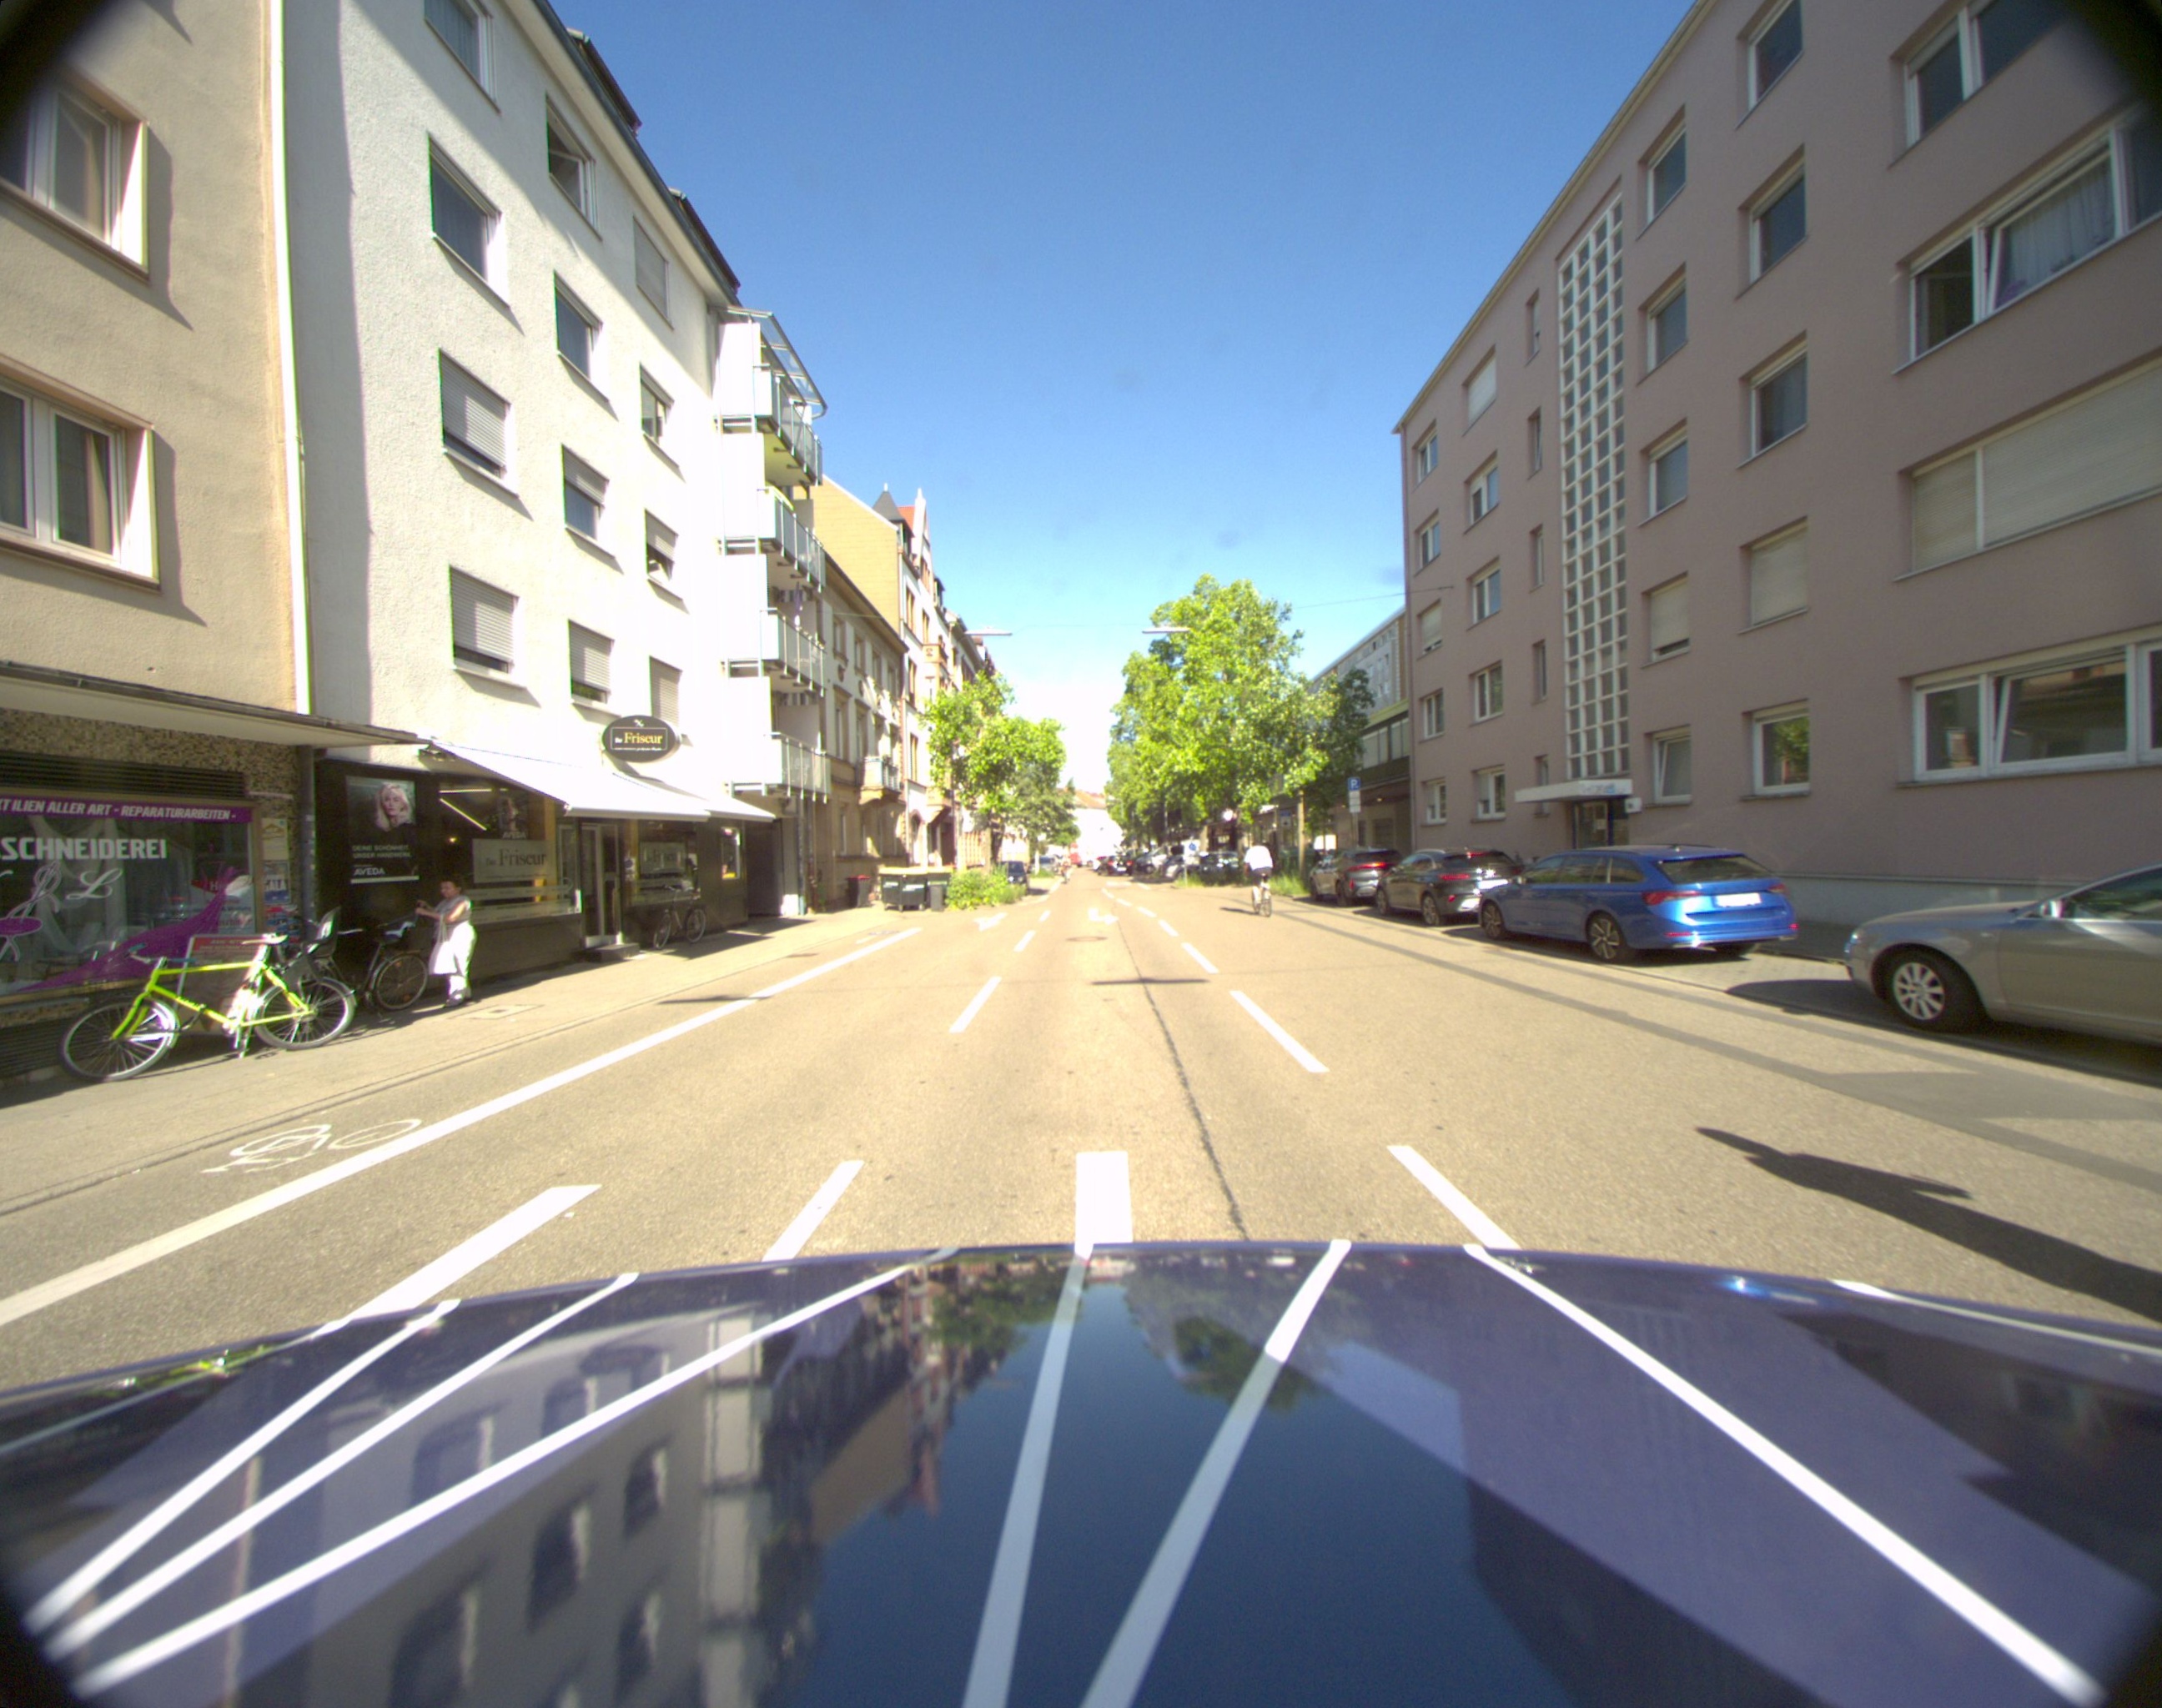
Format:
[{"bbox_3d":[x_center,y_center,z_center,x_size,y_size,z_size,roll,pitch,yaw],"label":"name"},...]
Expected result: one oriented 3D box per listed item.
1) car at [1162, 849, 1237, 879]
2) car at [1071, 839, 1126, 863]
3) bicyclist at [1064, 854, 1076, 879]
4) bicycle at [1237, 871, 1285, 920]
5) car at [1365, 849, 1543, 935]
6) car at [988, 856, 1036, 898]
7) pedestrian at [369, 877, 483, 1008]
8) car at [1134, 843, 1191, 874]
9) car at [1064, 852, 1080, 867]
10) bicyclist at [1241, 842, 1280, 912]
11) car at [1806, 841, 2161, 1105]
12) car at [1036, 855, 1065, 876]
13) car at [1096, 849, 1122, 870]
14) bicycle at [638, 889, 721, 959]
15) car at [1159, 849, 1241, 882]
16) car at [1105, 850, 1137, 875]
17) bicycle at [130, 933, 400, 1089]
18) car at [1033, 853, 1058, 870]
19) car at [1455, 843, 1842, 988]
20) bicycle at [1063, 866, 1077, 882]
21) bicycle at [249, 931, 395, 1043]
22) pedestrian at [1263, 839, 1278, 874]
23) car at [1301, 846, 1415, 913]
[{"bbox_3d":[6.655,0.542,42.949,3.996,1.543,1.913,-2,1,3],"label":"car"},{"bbox_3d":[1.842,-0.309,79.838,5.571,2.379,1.973,-2,1,-35],"label":"car"},{"bbox_3d":[-0.621,0.696,42.906,0.582,1.369,0.665,-2,1,5],"label":"bicyclist"},{"bbox_3d":[4.307,0.970,18.285,0.718,1.058,1.872,-1,1,1],"label":"bicycle"},{"bbox_3d":[7.545,0.676,15.871,1.727,1.459,4.158,-4,0,2],"label":"car"},{"bbox_3d":[-2.876,0.926,32.126,1.627,1.587,3.546,-2,0,1],"label":"car"},{"bbox_3d":[-7.568,1.000,8.811,0.776,1.434,0.625,0,1,-4],"label":"pedestrian"},{"bbox_3d":[5.754,0.313,53.950,3.875,2.031,1.913,-2,1,3],"label":"car"},{"bbox_3d":[-1.029,0.588,87.150,1.627,1.587,3.546,-2,0,1],"label":"car"},{"bbox_3d":[4.305,0.535,18.267,0.718,1.611,0.946,-1,1,1],"label":"bicyclist"},{"bbox_3d":[7.389,0.711,4.340,1.828,1.494,4.801,-4,0,-1],"label":"car"},{"bbox_3d":[-2.155,0.804,54.535,1.914,1.444,3.546,-2,0,-1],"label":"car"},{"bbox_3d":[2.212,0.408,61.635,1.911,1.543,4.000,-2,0,0],"label":"car"},{"bbox_3d":[-7.575,1.293,14.417,0.598,1.137,1.774,1,0,1],"label":"bicycle"},{"bbox_3d":[6.172,0.579,39.687,3.996,1.543,1.913,-2,1,3],"label":"car"},{"bbox_3d":[2.666,0.541,51.703,1.911,1.543,4.000,-2,0,0],"label":"car"},{"bbox_3d":[-7.297,1.358,6.909,1.497,1.100,0.722,-2,1,-31],"label":"bicycle"},{"bbox_3d":[-3.044,0.626,65.880,1.914,1.444,3.547,-2,0,1],"label":"car"},{"bbox_3d":[7.497,0.679,10.845,1.828,1.494,4.801,-4,0,-1],"label":"car"},{"bbox_3d":[-0.605,1.123,42.970,0.582,0.801,1.710,-2,0,6],"label":"bicycle"},{"bbox_3d":[-8.050,1.382,8.116,0.376,0.977,1.175,-2,0,-2],"label":"bicycle"},{"bbox_3d":[9.861,0.127,39.528,0.623,1.796,0.502,-2,1,2],"label":"pedestrian"},{"bbox_3d":[7.595,0.628,21.269,1.727,1.567,4.158,-4,0,2],"label":"car"}]
